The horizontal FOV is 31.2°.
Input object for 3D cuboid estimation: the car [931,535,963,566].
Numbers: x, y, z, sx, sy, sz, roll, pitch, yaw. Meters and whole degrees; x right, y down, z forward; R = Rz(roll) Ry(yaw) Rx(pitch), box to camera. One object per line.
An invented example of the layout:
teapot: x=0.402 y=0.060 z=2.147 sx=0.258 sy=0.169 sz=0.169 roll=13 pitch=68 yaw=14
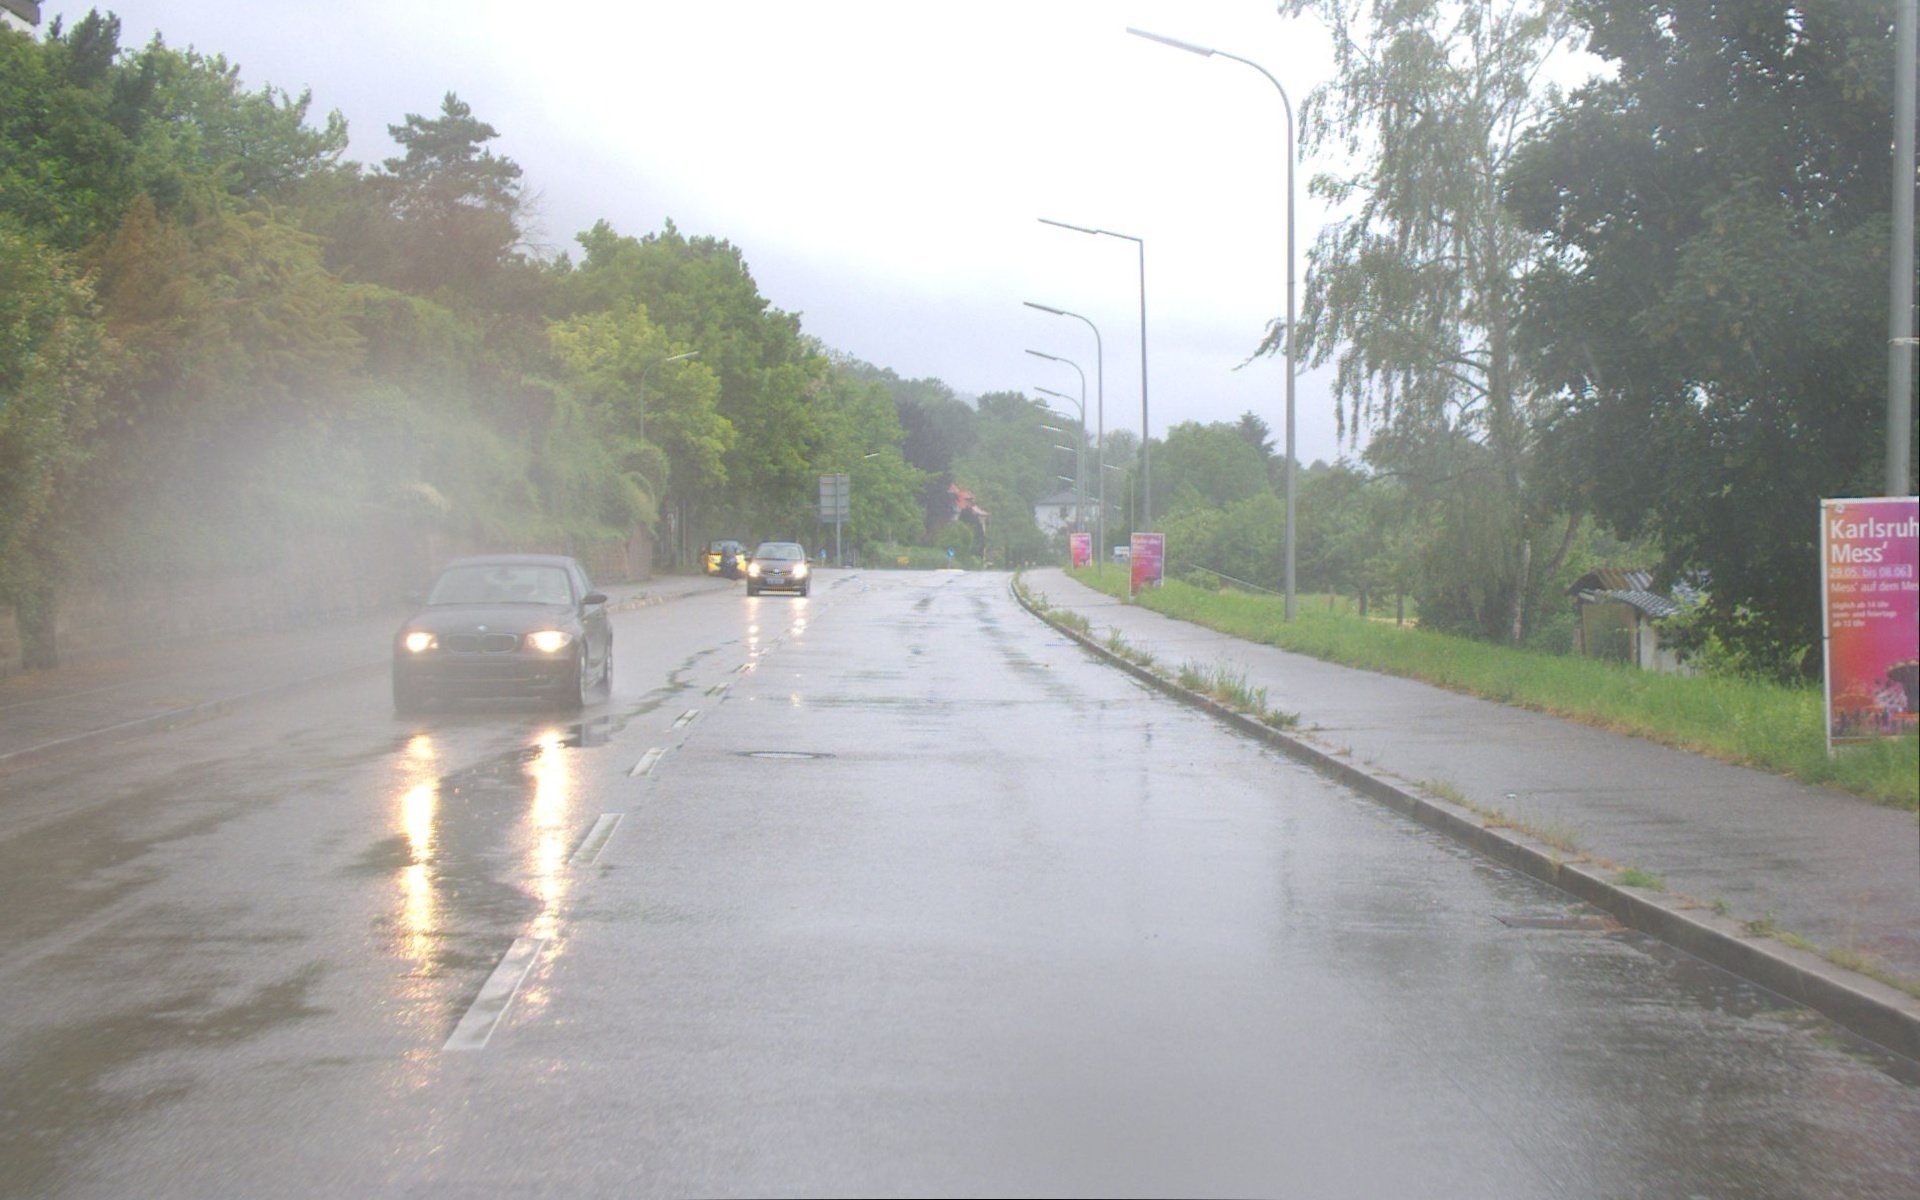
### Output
car: x=-0.850 y=-3.234 z=225.232 sx=1.993 sy=2.007 sz=4.000 roll=1 pitch=0 yaw=-1

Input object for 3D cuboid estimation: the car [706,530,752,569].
car: x=-9.048 y=-1.974 z=134.827 sx=1.727 sy=1.491 sz=3.988 roll=0 pitch=1 yaw=-3

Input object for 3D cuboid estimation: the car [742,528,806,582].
car: x=-5.227 y=-1.268 z=97.175 sx=1.759 sy=1.491 sz=4.128 roll=0 pitch=1 yaw=-2

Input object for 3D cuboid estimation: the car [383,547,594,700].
car: x=-4.363 y=0.180 z=32.293 sx=1.654 sy=1.347 sz=3.988 roll=0 pitch=1 yaw=-3
